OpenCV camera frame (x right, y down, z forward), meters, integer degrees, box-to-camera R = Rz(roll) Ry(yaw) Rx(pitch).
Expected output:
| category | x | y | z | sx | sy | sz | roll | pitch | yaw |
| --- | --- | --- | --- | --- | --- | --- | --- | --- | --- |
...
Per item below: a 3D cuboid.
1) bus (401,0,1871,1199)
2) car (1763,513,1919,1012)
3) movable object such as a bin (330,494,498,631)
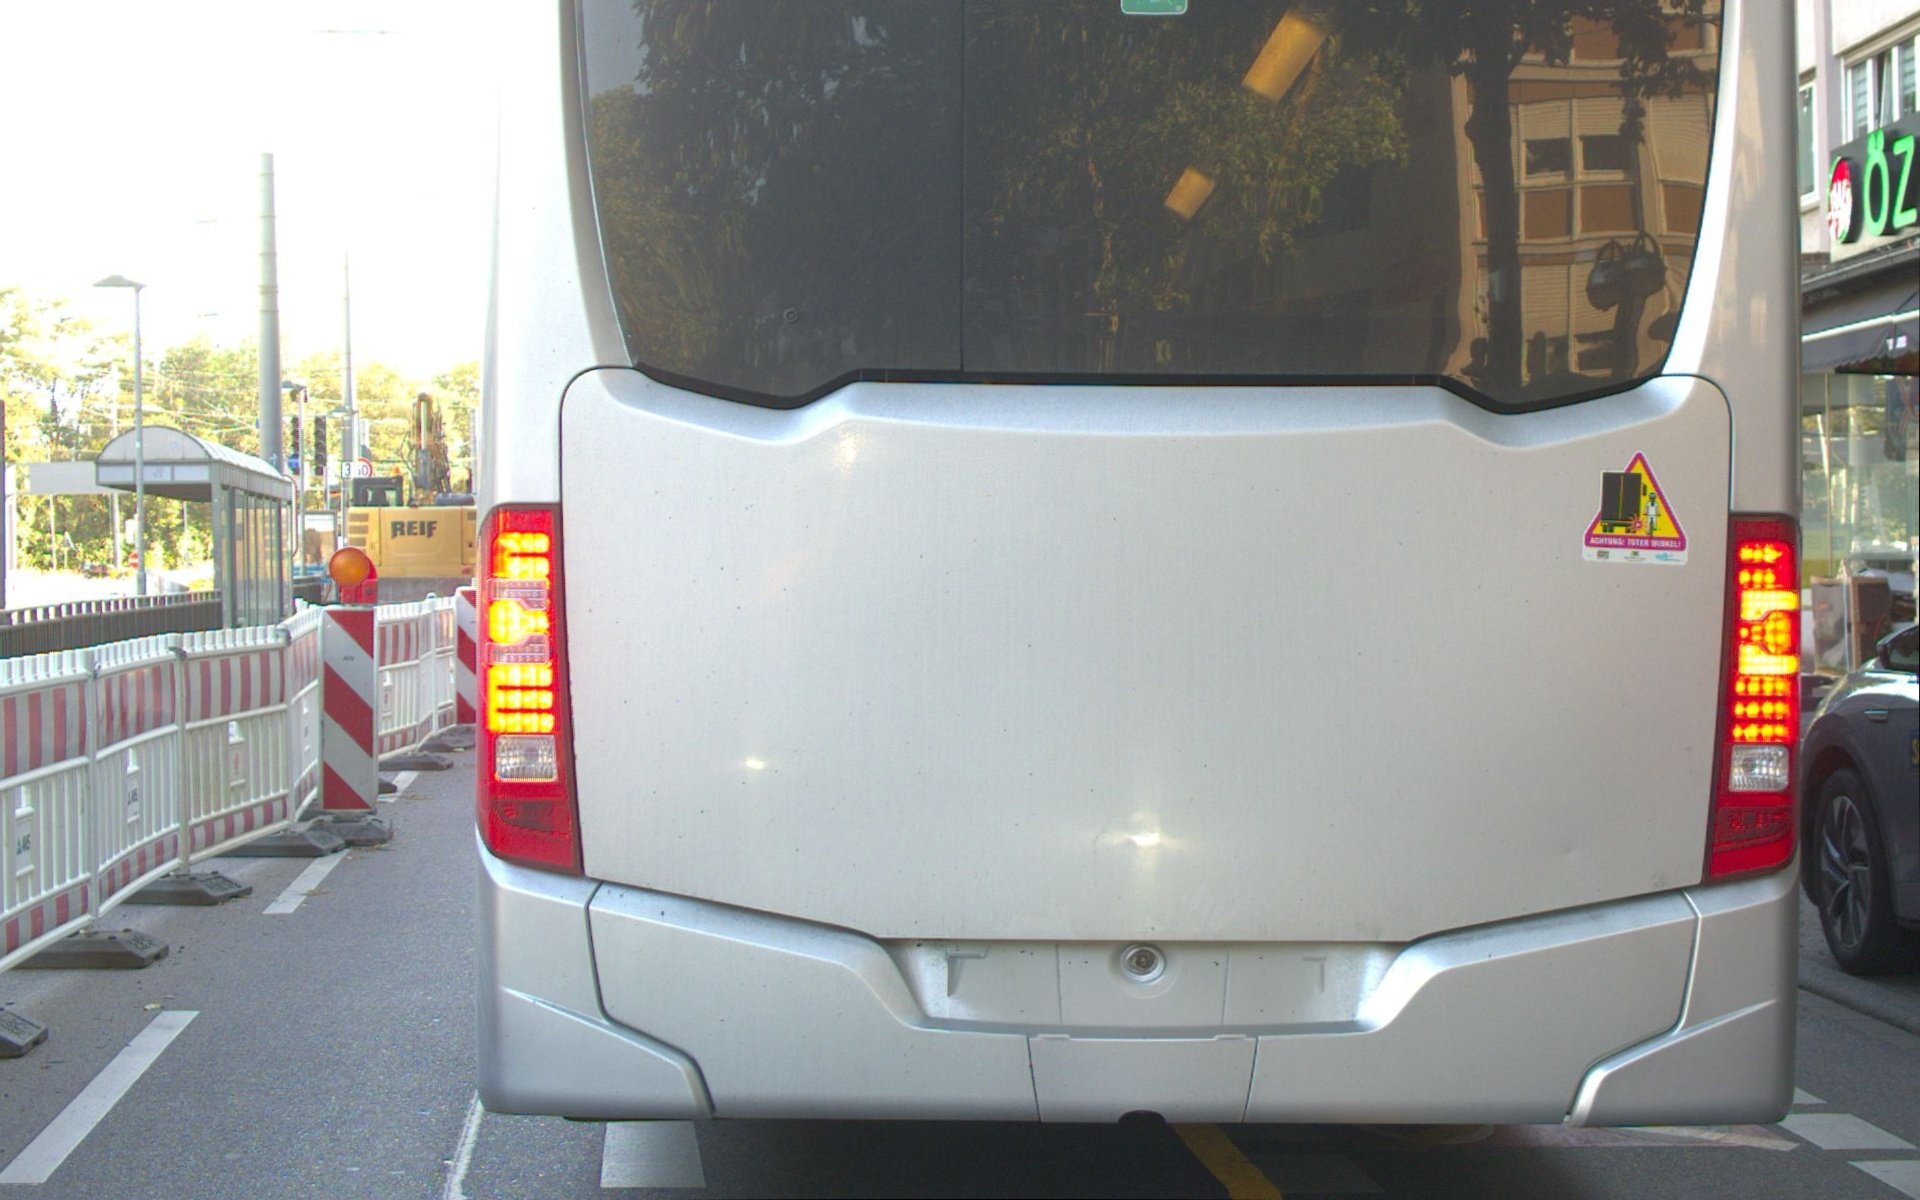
| category | x | y | z | sx | sy | sz | roll | pitch | yaw |
| --- | --- | --- | --- | --- | --- | --- | --- | --- | --- |
| bus | 0.242 | -0.269 | 11.258 | 2.608 | 3.159 | 10.292 | 0 | 1 | -1 |
| car | 3.982 | 0.493 | 10.306 | 1.739 | 1.592 | 4.300 | -3 | 1 | -5 |
| movable object such as a bin | -10.055 | -0.701 | 63.675 | 2.806 | 2.453 | 4.001 | 0 | 1 | -5 |
